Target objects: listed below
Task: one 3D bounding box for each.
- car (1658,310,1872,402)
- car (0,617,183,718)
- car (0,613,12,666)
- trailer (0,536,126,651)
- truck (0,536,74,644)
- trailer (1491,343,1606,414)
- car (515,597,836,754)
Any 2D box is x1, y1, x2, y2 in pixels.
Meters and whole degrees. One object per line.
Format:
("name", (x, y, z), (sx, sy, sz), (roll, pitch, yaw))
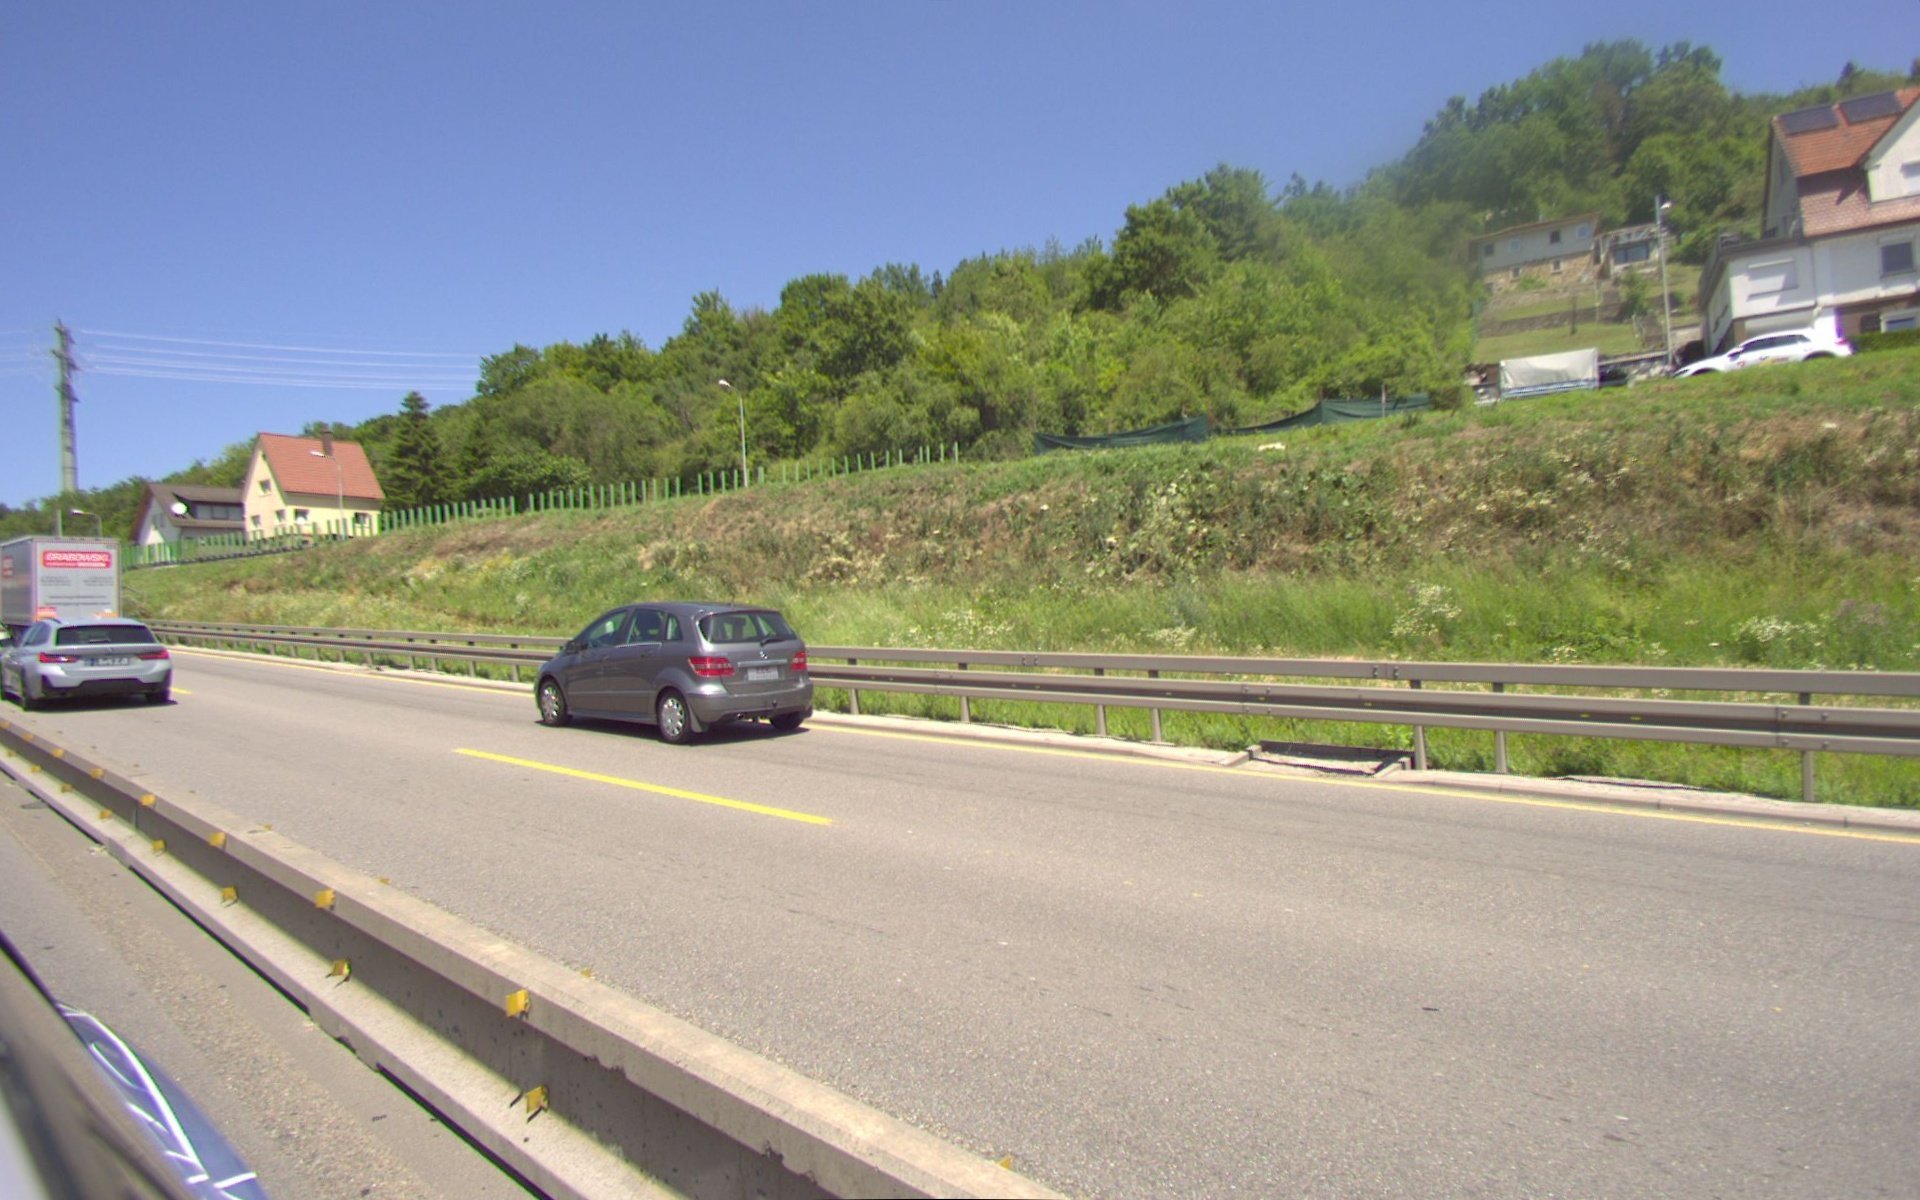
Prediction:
("car", (22.796, -6.880, 28.917), (4.537, 1.668, 1.979), (0, 0, 31))
("car", (-14.561, 1.013, 16.746), (4.626, 1.444, 1.810), (-1, -1, 41))
("car", (-28.785, 1.129, 29.109), (3.997, 1.475, 1.784), (-1, -1, 41))
("trailer", (-35.260, -0.184, 39.382), (8.700, 4.019, 2.899), (-1, 0, 40))
("truck", (-42.529, -0.358, 45.541), (10.379, 4.430, 2.594), (-1, 0, 41))
("trailer", (18.367, -6.883, 31.701), (3.025, 1.527, 1.889), (0, 0, 30))
("car", (-3.643, 0.814, 12.547), (4.283, 1.594, 1.755), (-1, 0, 41))
